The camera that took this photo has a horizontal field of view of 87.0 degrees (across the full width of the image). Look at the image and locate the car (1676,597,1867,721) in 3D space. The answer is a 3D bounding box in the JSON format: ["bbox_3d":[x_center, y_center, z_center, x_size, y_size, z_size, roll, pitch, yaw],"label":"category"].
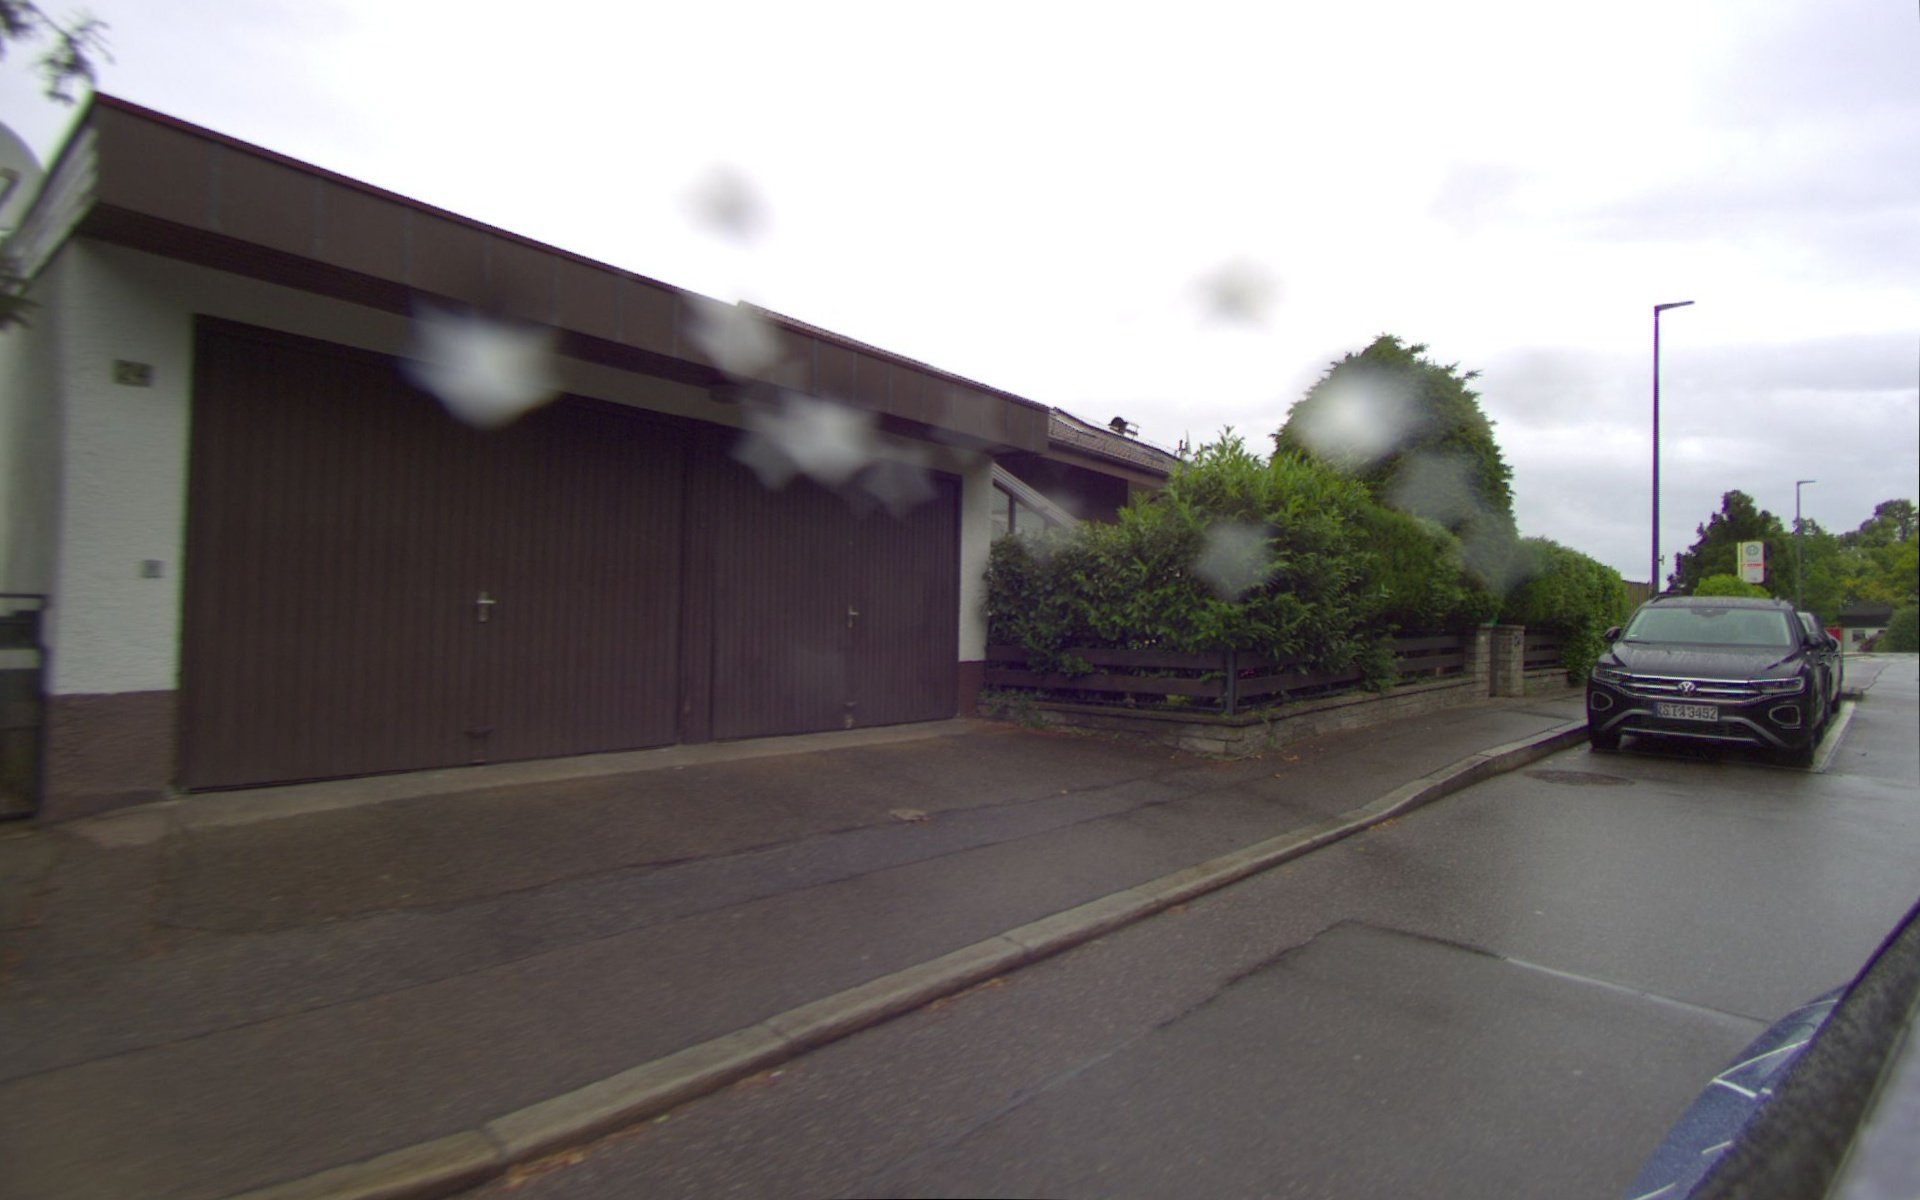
[{"bbox_3d":[11.550,0.747,14.296,1.755,1.481,4.232,-1,-2,43],"label":"car"}]

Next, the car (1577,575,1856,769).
[{"bbox_3d":[8.114,0.625,10.678,1.875,1.612,4.408,0,-1,43],"label":"car"}]
